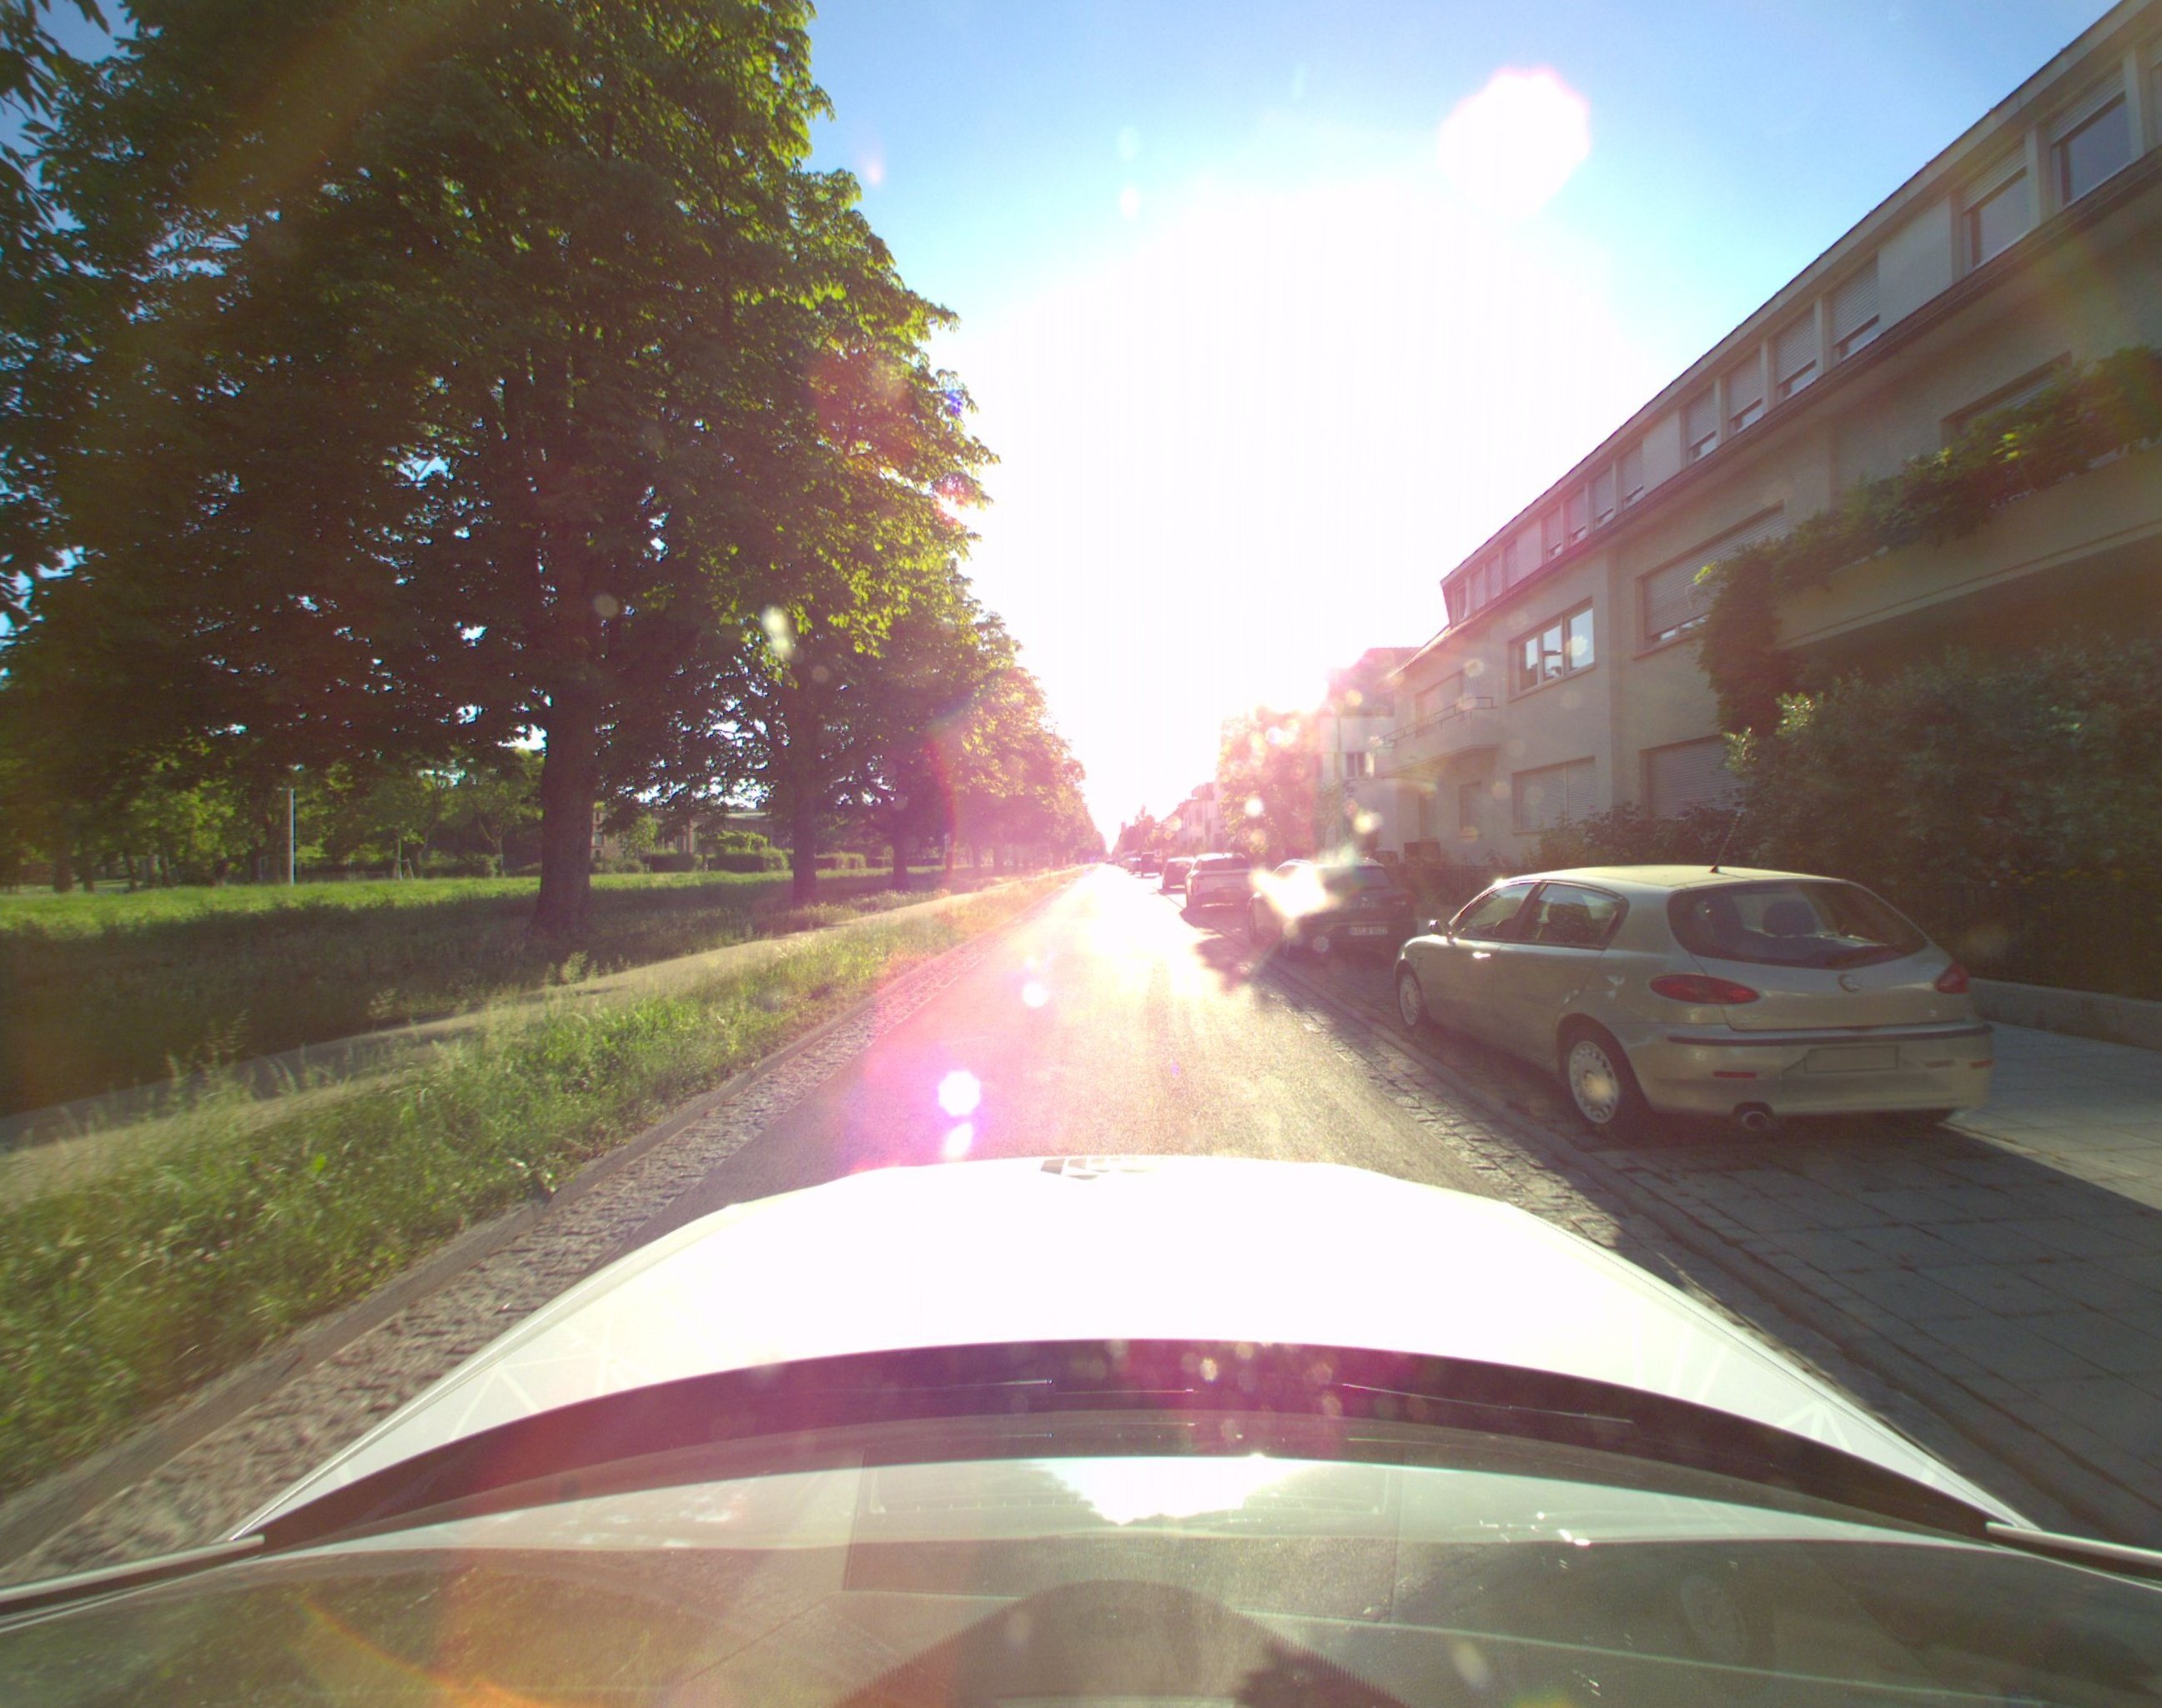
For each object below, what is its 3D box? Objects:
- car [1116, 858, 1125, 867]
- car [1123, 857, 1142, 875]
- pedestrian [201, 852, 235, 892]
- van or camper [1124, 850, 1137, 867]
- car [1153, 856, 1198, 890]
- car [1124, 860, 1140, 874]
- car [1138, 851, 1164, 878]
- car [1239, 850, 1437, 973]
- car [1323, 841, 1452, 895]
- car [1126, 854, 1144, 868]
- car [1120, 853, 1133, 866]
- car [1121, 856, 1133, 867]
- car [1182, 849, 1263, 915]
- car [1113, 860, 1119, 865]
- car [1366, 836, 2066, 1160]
[{"bbox_3d":[7.577,1.625,155.421,1.643,1.530,3.854,-2,0,3],"label":"car"},{"bbox_3d":[5.452,1.283,86.000,1.787,1.771,4.474,-3,0,2],"label":"car"},{"bbox_3d":[-37.635,0.779,35.507,0.779,1.724,0.710,1,-1,-26],"label":"pedestrian"},{"bbox_3d":[7.900,0.756,131.281,1.936,2.778,5.942,0,-1,2],"label":"van or camper"},{"bbox_3d":[4.518,0.895,39.522,1.787,1.482,4.125,-3,0,2],"label":"car"},{"bbox_3d":[6.470,1.590,103.543,1.825,1.685,4.417,1,0,2],"label":"car"},{"bbox_3d":[5.960,0.911,69.664,1.898,2.132,4.818,-3,0,3],"label":"car"},{"bbox_3d":[3.715,0.751,12.588,1.787,1.494,4.195,-3,0,2],"label":"car"},{"bbox_3d":[11.044,0.476,29.507,3.975,1.845,1.813,1,1,-4],"label":"car"},{"bbox_3d":[6.430,0.882,97.987,1.713,1.574,4.207,-3,-1,-1],"label":"car"},{"bbox_3d":[9.025,1.052,161.533,2.119,2.533,5.188,-2,0,0],"label":"car"},{"bbox_3d":[7.024,1.178,124.712,1.657,1.593,4.088,0,-1,2],"label":"car"},{"bbox_3d":[4.104,0.744,24.319,1.897,1.708,4.581,-3,0,4],"label":"car"},{"bbox_3d":[10.646,2.523,249.316,1.643,1.530,3.854,2,0,3],"label":"car"},{"bbox_3d":[3.583,0.664,5.731,1.787,1.380,4.080,-3,0,2],"label":"car"}]
